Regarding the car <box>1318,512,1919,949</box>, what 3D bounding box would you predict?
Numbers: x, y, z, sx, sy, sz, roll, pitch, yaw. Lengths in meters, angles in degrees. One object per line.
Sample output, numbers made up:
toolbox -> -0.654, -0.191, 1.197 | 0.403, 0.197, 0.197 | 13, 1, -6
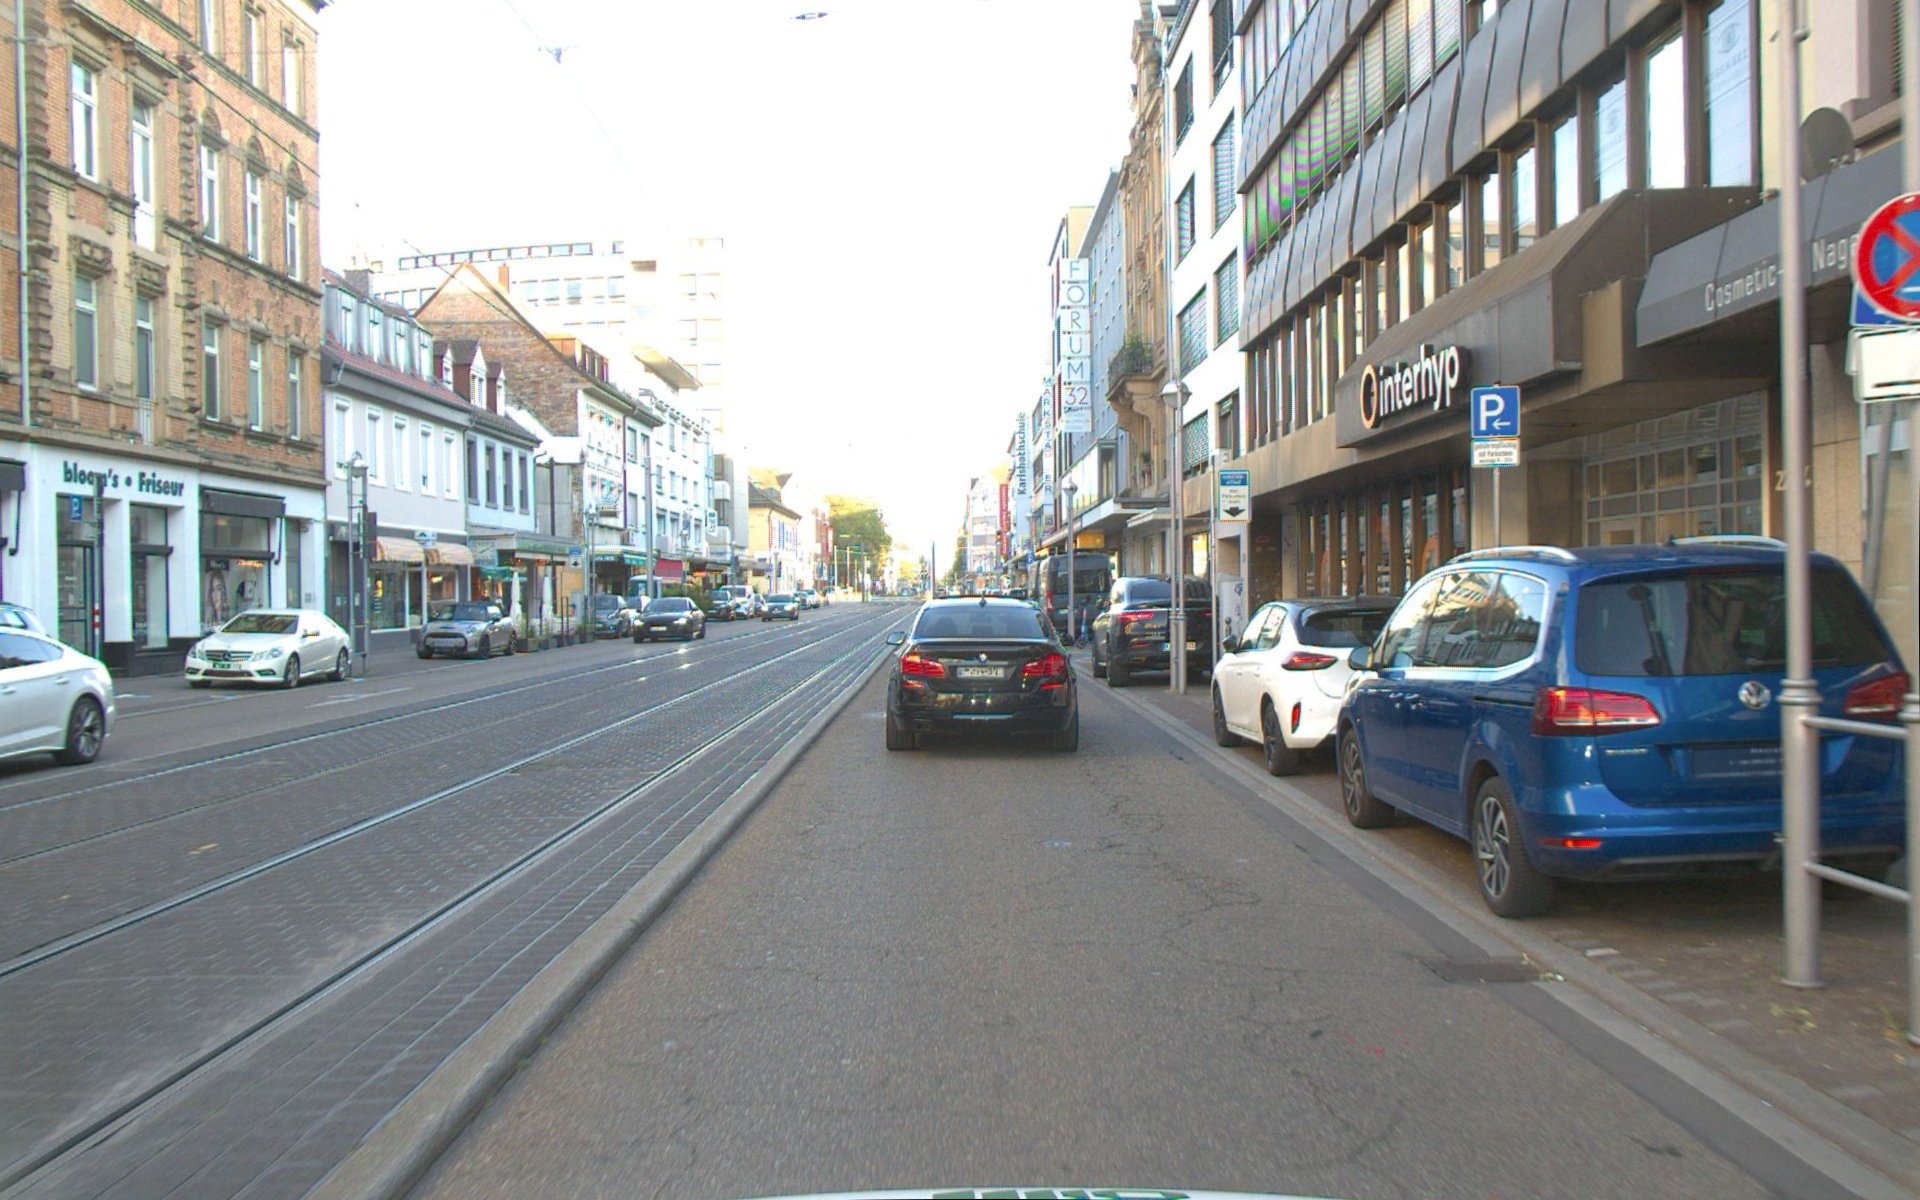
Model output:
car -> 3.510, 0.522, 9.219 | 1.953, 1.757, 4.576 | -3, 0, 0

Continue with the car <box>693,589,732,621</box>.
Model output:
car -> -13.501, 0.259, 90.458 | 1.829, 1.714, 3.996 | 0, 0, -5

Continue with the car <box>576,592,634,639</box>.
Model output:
car -> -12.707, 0.541, 59.311 | 1.446, 1.605, 2.795 | -1, 0, 0

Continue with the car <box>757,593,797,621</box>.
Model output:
car -> -9.945, 0.373, 90.186 | 1.657, 1.478, 4.465 | -1, 0, 1

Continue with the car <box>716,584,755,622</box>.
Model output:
car -> -13.310, 0.173, 98.294 | 1.954, 2.194, 4.907 | -1, 0, -4

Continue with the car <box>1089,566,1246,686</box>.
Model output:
car -> 3.307, 0.376, 27.266 | 1.953, 1.757, 4.565 | -2, 0, 0

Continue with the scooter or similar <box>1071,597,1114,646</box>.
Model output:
scooter or similar -> 3.426, 0.551, 42.681 | 0.490, 1.241, 1.260 | -1, 0, 36

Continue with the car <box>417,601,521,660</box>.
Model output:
car -> -12.840, 0.766, 43.471 | 1.565, 1.465, 3.812 | 1, 0, 0

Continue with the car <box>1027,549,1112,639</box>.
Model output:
car -> 3.256, -0.201, 50.433 | 2.050, 2.498, 6.031 | -2, 0, -1

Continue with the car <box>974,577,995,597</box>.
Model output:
car -> 2.044, -1.078, 138.979 | 1.738, 1.576, 3.502 | 0, 0, -1

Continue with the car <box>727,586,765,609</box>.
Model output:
car -> -13.615, -0.159, 105.460 | 1.889, 1.460, 4.245 | 0, 0, 0

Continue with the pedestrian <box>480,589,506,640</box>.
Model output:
pedestrian -> -15.221, 0.470, 53.922 | 0.649, 1.673, 0.694 | 0, 0, 0

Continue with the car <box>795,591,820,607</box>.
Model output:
car -> -13.599, -0.093, 147.665 | 1.889, 1.460, 4.245 | 0, 0, 0

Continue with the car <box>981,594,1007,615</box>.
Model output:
car -> 2.568, 0.364, 124.604 | 1.864, 1.576, 3.779 | 0, -1, -1

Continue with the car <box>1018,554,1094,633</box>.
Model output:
car -> 3.239, -0.228, 56.830 | 1.992, 2.498, 5.407 | -3, 0, -2

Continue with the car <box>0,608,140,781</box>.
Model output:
car -> -9.371, 0.886, 14.568 | 1.953, 1.478, 4.655 | -3, 0, -1

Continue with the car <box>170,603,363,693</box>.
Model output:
car -> -12.930, 0.842, 31.169 | 1.831, 1.478, 4.608 | 2, 0, -3

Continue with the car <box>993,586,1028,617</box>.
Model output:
car -> 2.547, 0.050, 84.378 | 1.528, 1.467, 3.708 | -3, 0, -1

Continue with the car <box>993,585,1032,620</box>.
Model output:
car -> 2.470, 0.081, 78.962 | 1.621, 1.564, 3.885 | -2, 0, -1

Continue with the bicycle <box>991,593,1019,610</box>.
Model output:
bicycle -> 2.954, 0.103, 108.317 | 1.823, 1.099, 0.468 | -1, -1, 0

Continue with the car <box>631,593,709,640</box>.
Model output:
car -> -9.611, 0.510, 55.101 | 1.954, 1.478, 4.646 | -1, 0, -3

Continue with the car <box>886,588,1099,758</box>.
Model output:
car -> 0.334, 0.680, 17.110 | 1.913, 1.525, 4.465 | 0, -1, 1

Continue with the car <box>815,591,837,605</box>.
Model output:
car -> -13.826, -0.199, 170.795 | 1.889, 1.460, 4.245 | 0, 0, 0

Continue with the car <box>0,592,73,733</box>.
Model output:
car -> -12.673, 0.771, 19.443 | 1.890, 1.704, 4.647 | 0, 1, 2

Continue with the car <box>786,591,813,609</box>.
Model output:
car -> -13.689, 0.000, 141.337 | 1.889, 1.460, 4.245 | -1, 0, 0

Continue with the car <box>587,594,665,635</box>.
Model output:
car -> -12.869, 0.519, 64.003 | 1.952, 1.478, 4.822 | -1, 0, 1

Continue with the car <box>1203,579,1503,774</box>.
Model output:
car -> 3.427, 0.586, 15.165 | 1.759, 1.458, 3.887 | -3, 1, 0
